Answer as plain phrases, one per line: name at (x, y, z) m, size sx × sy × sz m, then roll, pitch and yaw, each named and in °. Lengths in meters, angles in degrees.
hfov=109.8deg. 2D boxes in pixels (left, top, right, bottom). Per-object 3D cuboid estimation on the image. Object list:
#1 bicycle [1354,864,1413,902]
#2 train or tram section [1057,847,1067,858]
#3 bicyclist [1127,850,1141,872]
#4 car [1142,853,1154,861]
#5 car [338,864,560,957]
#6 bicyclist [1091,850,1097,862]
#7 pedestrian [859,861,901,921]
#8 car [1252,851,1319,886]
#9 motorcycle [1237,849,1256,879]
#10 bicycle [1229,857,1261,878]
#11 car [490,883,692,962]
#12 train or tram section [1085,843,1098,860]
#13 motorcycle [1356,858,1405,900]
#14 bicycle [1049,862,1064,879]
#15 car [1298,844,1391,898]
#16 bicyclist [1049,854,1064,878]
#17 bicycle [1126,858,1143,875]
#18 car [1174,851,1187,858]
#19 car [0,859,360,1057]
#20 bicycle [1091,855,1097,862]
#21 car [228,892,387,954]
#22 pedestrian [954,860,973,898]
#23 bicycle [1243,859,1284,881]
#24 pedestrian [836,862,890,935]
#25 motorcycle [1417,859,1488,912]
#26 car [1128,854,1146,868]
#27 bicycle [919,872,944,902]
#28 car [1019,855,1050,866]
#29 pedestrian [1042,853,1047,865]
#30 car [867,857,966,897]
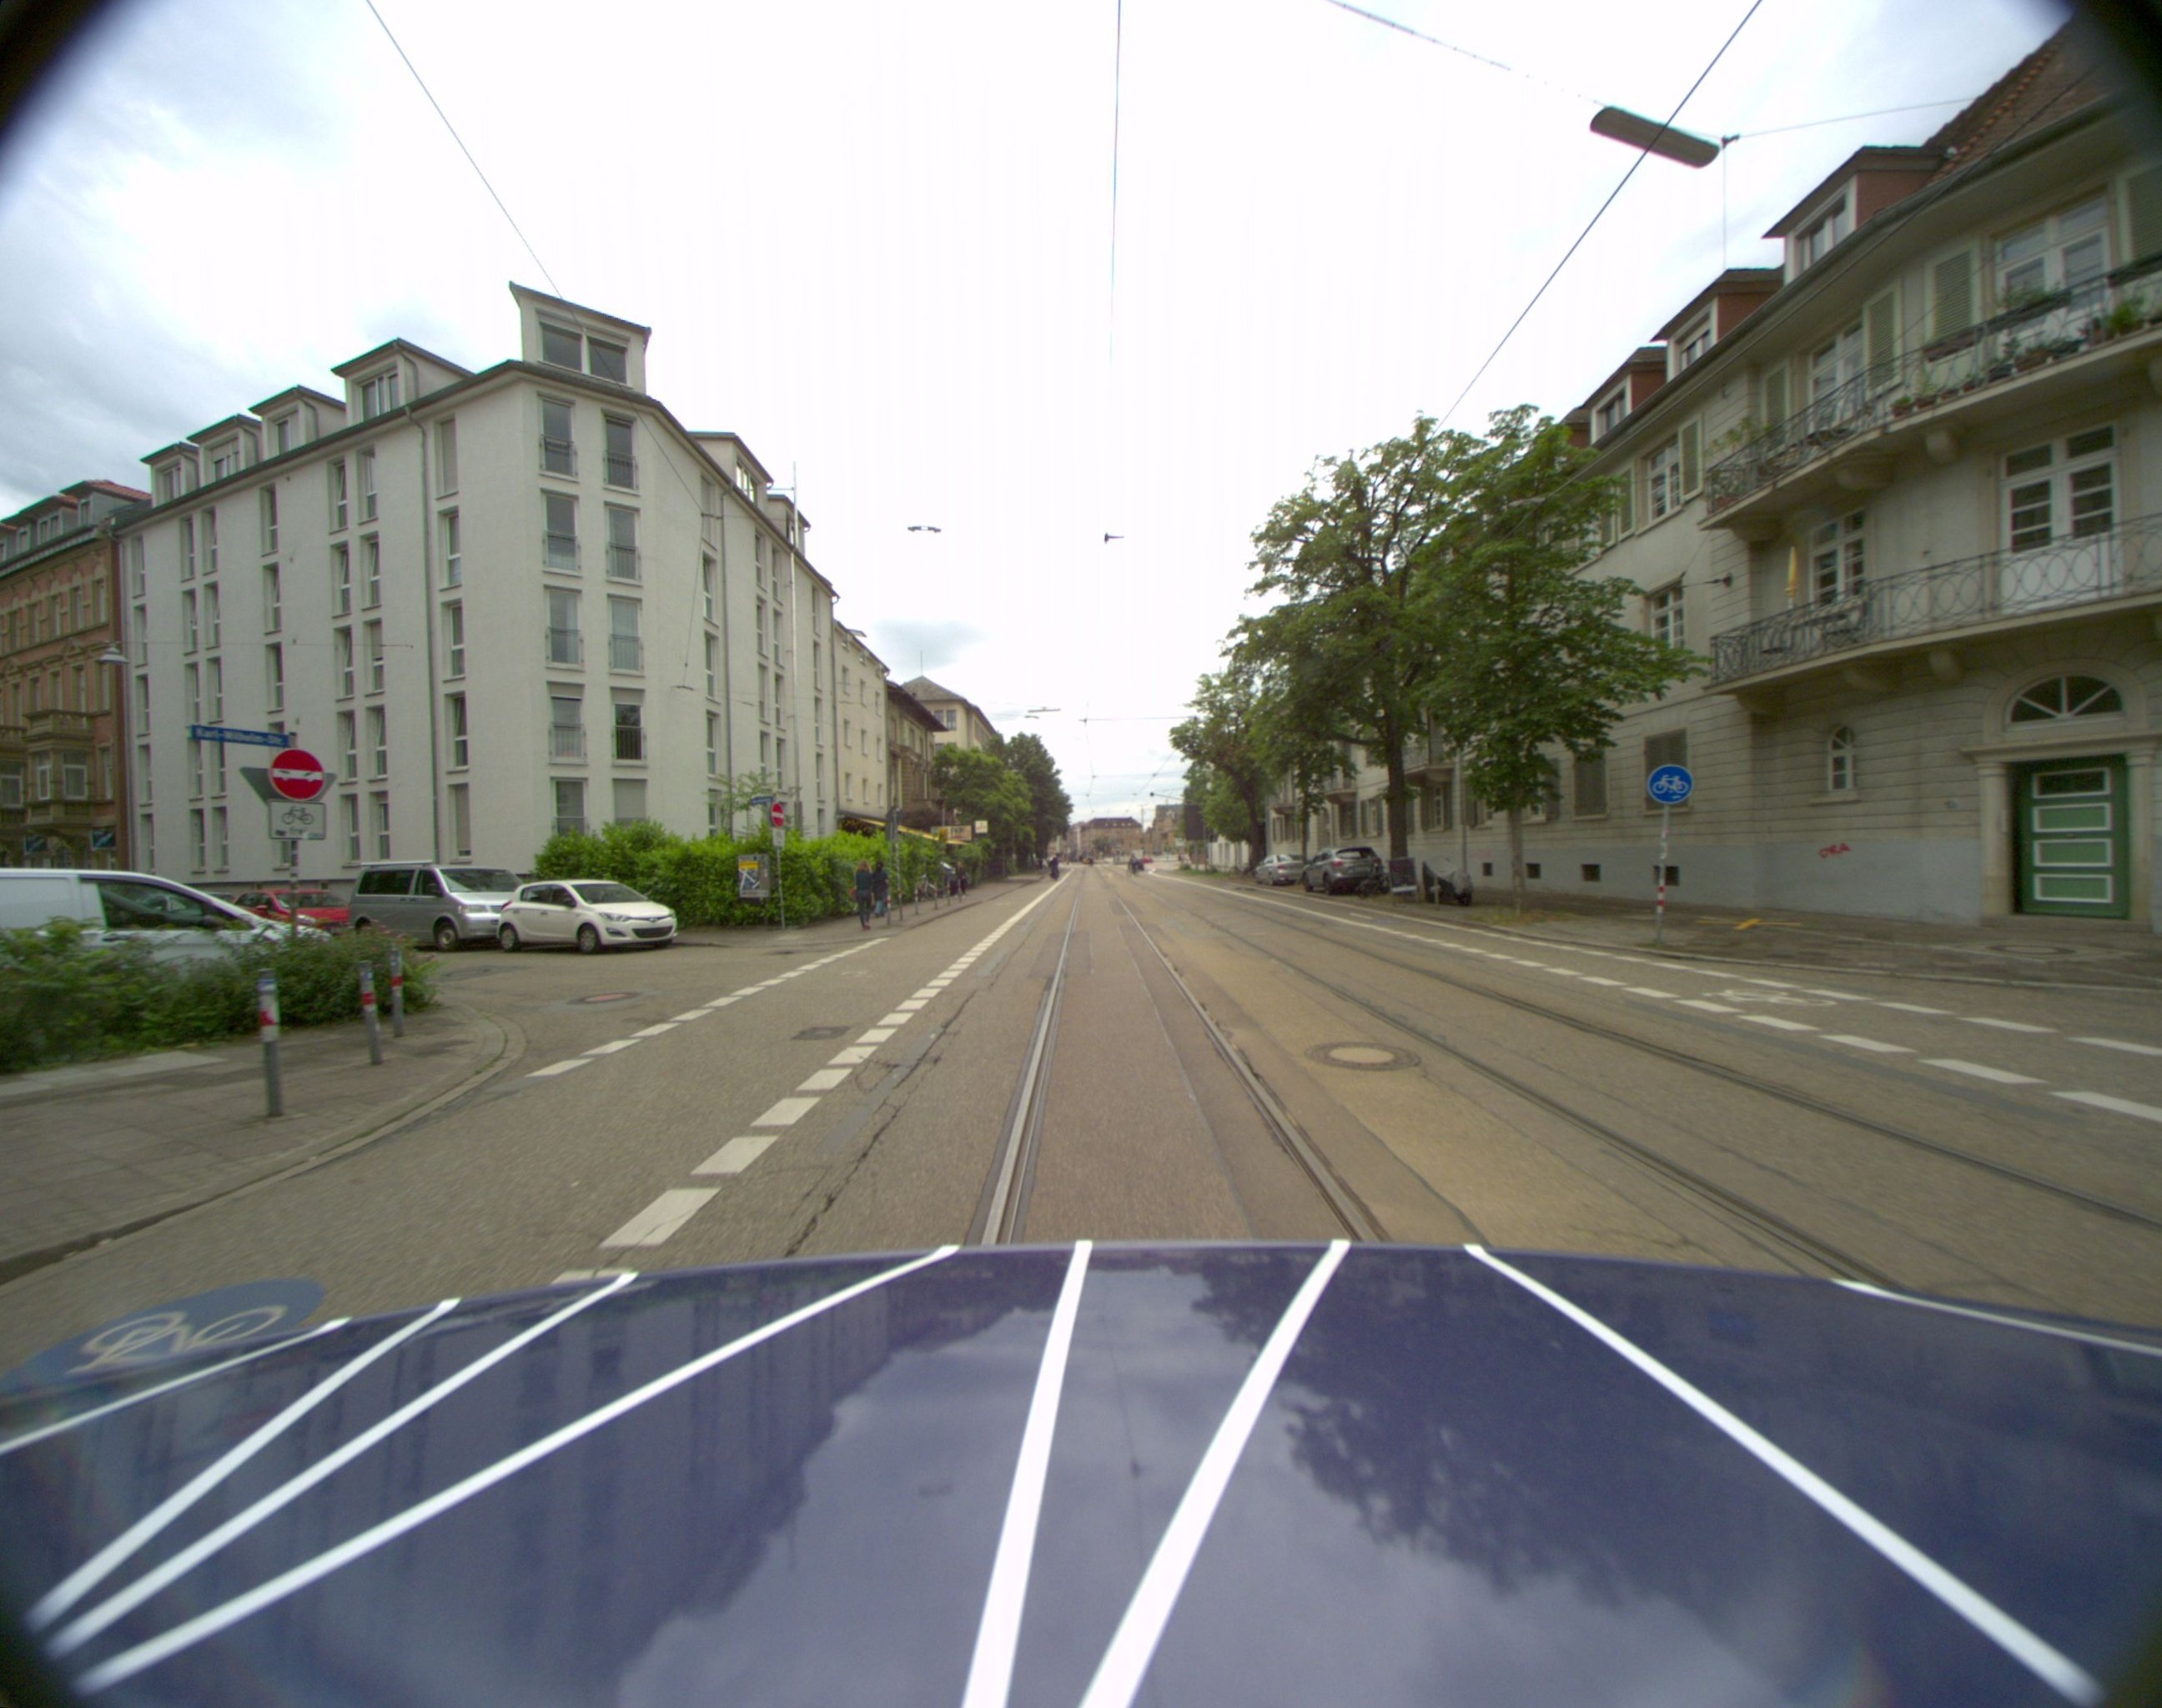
bicycle at (8.999, 0.854, 22.654) m, size 1.379 × 0.999 × 0.930 m, roll -5°, pitch 0°, yaw 5°
train or tram section at (-5.104, -0.319, 205.447) m, size 2.610 × 2.936 × 4.965 m, roll -2°, pitch 0°, yaw -1°
bicyclist at (4.146, 0.566, 59.220) m, size 0.774 × 1.681 × 0.870 m, roll -1°, pitch 0°, yaw 22°
car at (13.614, 0.536, 153.987) m, size 1.758 × 1.490 × 4.004 m, roll 0°, pitch 0°, yaw 14°
car at (-14.682, 1.257, 17.652) m, size 4.734 × 1.927 × 1.980 m, roll -2°, pitch -1°, yaw 23°
bicyclist at (2.064, 0.276, 118.974) m, size 0.793 × 1.773 × 1.148 m, roll 1°, pitch 1°, yaw 8°
pedestrian at (-5.676, 1.024, 21.469) m, size 0.794 × 1.627 × 0.837 m, roll 0°, pitch 2°, yaw 16°
car at (9.329, 0.632, 35.024) m, size 1.816 × 1.457 × 4.614 m, roll -2°, pitch 0°, yaw 0°
motorcycle at (9.351, 0.527, 42.944) m, size 0.834 × 1.633 × 2.481 m, roll -2°, pitch 0°, yaw 9°
bicycle at (9.637, 0.818, 44.653) m, size 1.744 × 1.122 × 0.518 m, roll -4°, pitch 0°, yaw 19°
car at (-10.209, 1.376, 15.834) m, size 3.812 × 1.422 × 1.674 m, roll -2°, pitch -1°, yaw 23°
train or tram section at (2.430, -0.592, 174.145) m, size 2.631 × 3.659 × 5.984 m, roll -2°, pitch 0°, yaw -1°
motorcycle at (9.323, 0.776, 23.678) m, size 1.288 × 1.215 × 0.548 m, roll -3°, pitch 0°, yaw 7°
bicycle at (-1.896, 1.277, 58.620) m, size 0.853 × 1.234 × 2.311 m, roll -2°, pitch -2°, yaw 5°
car at (9.206, 0.552, 26.927) m, size 1.842 × 1.651 × 4.293 m, roll -4°, pitch 0°, yaw 2°
bicyclist at (-1.907, 0.959, 58.772) m, size 0.881 × 1.811 × 1.479 m, roll -2°, pitch -1°, yaw 5°
bicycle at (4.167, 0.963, 59.251) m, size 0.774 × 1.205 × 1.871 m, roll -2°, pitch 0°, yaw 22°
car at (22.169, 0.129, 168.710) m, size 1.491 × 1.500 × 3.476 m, roll -1°, pitch 0°, yaw 34°
car at (-11.321, 1.048, 7.971) m, size 2.054 × 1.867 × 5.035 m, roll -2°, pitch 0°, yaw 17°
bicycle at (2.048, 0.685, 118.933) m, size 0.793 × 1.179 × 2.012 m, roll 1°, pitch 0°, yaw 8°
car at (-20.348, 1.764, 19.984) m, size 3.814 × 1.444 × 1.569 m, roll -2°, pitch 0°, yaw 22°
pedestrian at (-5.189, 1.096, 33.573) m, size 0.625 × 1.661 × 0.960 m, roll 1°, pitch 0°, yaw 0°
bicycle at (9.421, 0.841, 39.259) m, size 1.900 × 1.021 × 0.564 m, roll -3°, pitch 0°, yaw -4°
pedestrian at (-5.102, 1.025, 17.849) m, size 0.874 × 1.646 × 0.909 m, roll -2°, pitch 0°, yaw 7°
motorcycle at (9.390, 0.766, 19.315) m, size 0.541 × 1.250 × 2.141 m, roll -2°, pitch 0°, yaw -6°
car at (6.084, 0.735, 83.309) m, size 1.733 × 1.400 × 3.655 m, roll -2°, pitch 0°, yaw 0°
bicycle at (-5.952, 1.309, 30.369) m, size 0.634 × 1.121 × 1.812 m, roll 0°, pitch -1°, yaw 0°
car at (-6.921, 1.011, 113.502) m, size 4.330 × 1.542 × 1.747 m, roll -2°, pitch 0°, yaw -22°
pedestrian at (-5.417, 0.807, 112.400) m, size 0.614 × 1.740 × 0.685 m, roll -2°, pitch 0°, yaw -14°
car at (-7.868, 1.066, 36.527) m, size 4.290 × 1.798 × 1.824 m, roll -1°, pitch 0°, yaw 2°
